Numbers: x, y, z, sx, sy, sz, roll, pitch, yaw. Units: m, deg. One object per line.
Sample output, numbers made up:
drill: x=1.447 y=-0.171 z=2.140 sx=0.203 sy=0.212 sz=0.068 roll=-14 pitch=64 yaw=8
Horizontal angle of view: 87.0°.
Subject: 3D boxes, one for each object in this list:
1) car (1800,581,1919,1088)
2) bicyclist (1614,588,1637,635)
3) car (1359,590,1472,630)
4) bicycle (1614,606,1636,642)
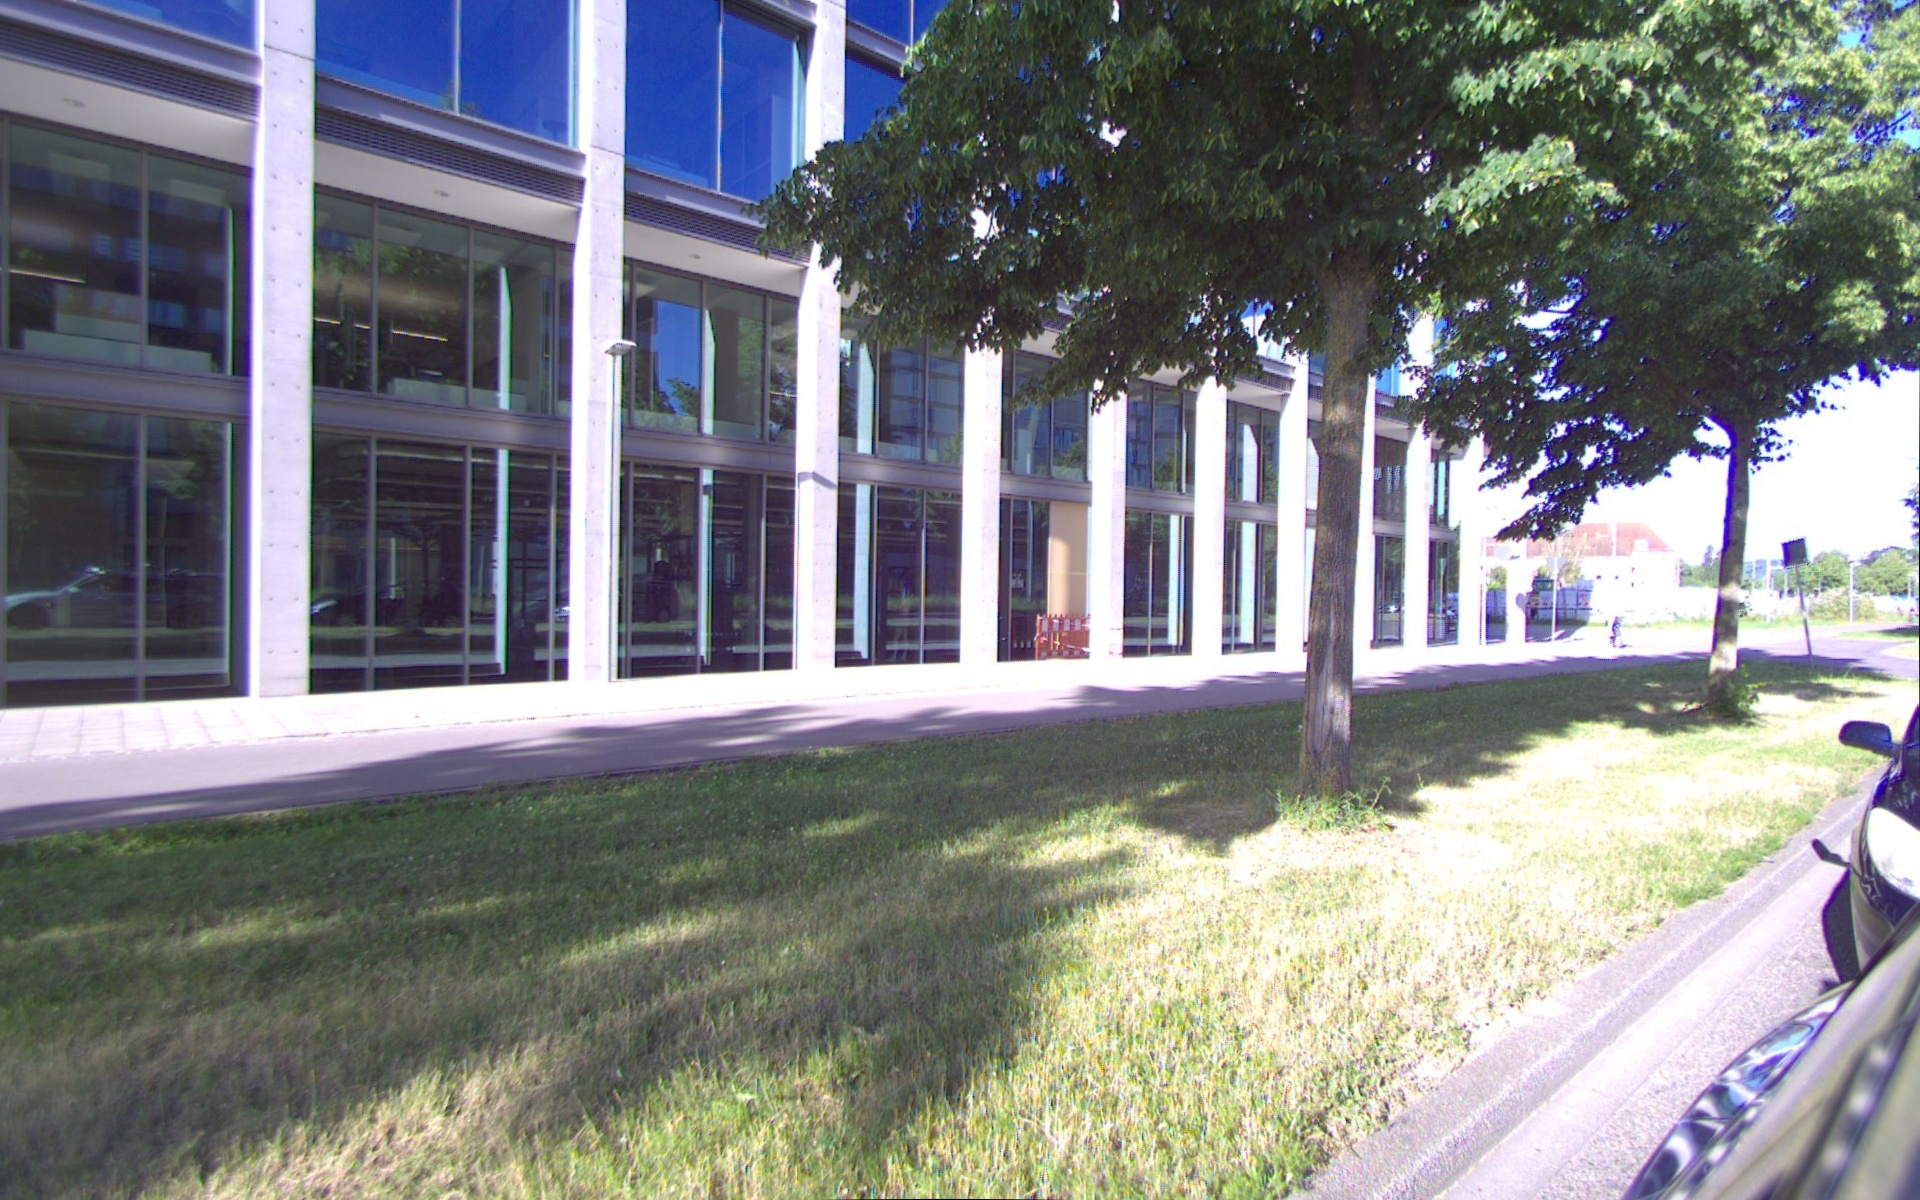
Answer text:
car: x=4.924 y=0.703 z=3.949 sx=4.403 sy=1.500 sz=1.845 roll=0 pitch=1 yaw=-41
bicyclist: x=23.013 y=0.395 z=34.978 sx=0.588 sy=1.558 sz=0.691 roll=3 pitch=1 yaw=34
car: x=19.513 y=0.390 z=43.482 sx=1.963 sy=1.598 sz=3.997 roll=0 pitch=1 yaw=-38
bicycle: x=22.998 y=0.798 z=34.993 sx=0.588 sy=1.170 sz=1.904 roll=3 pitch=2 yaw=34
